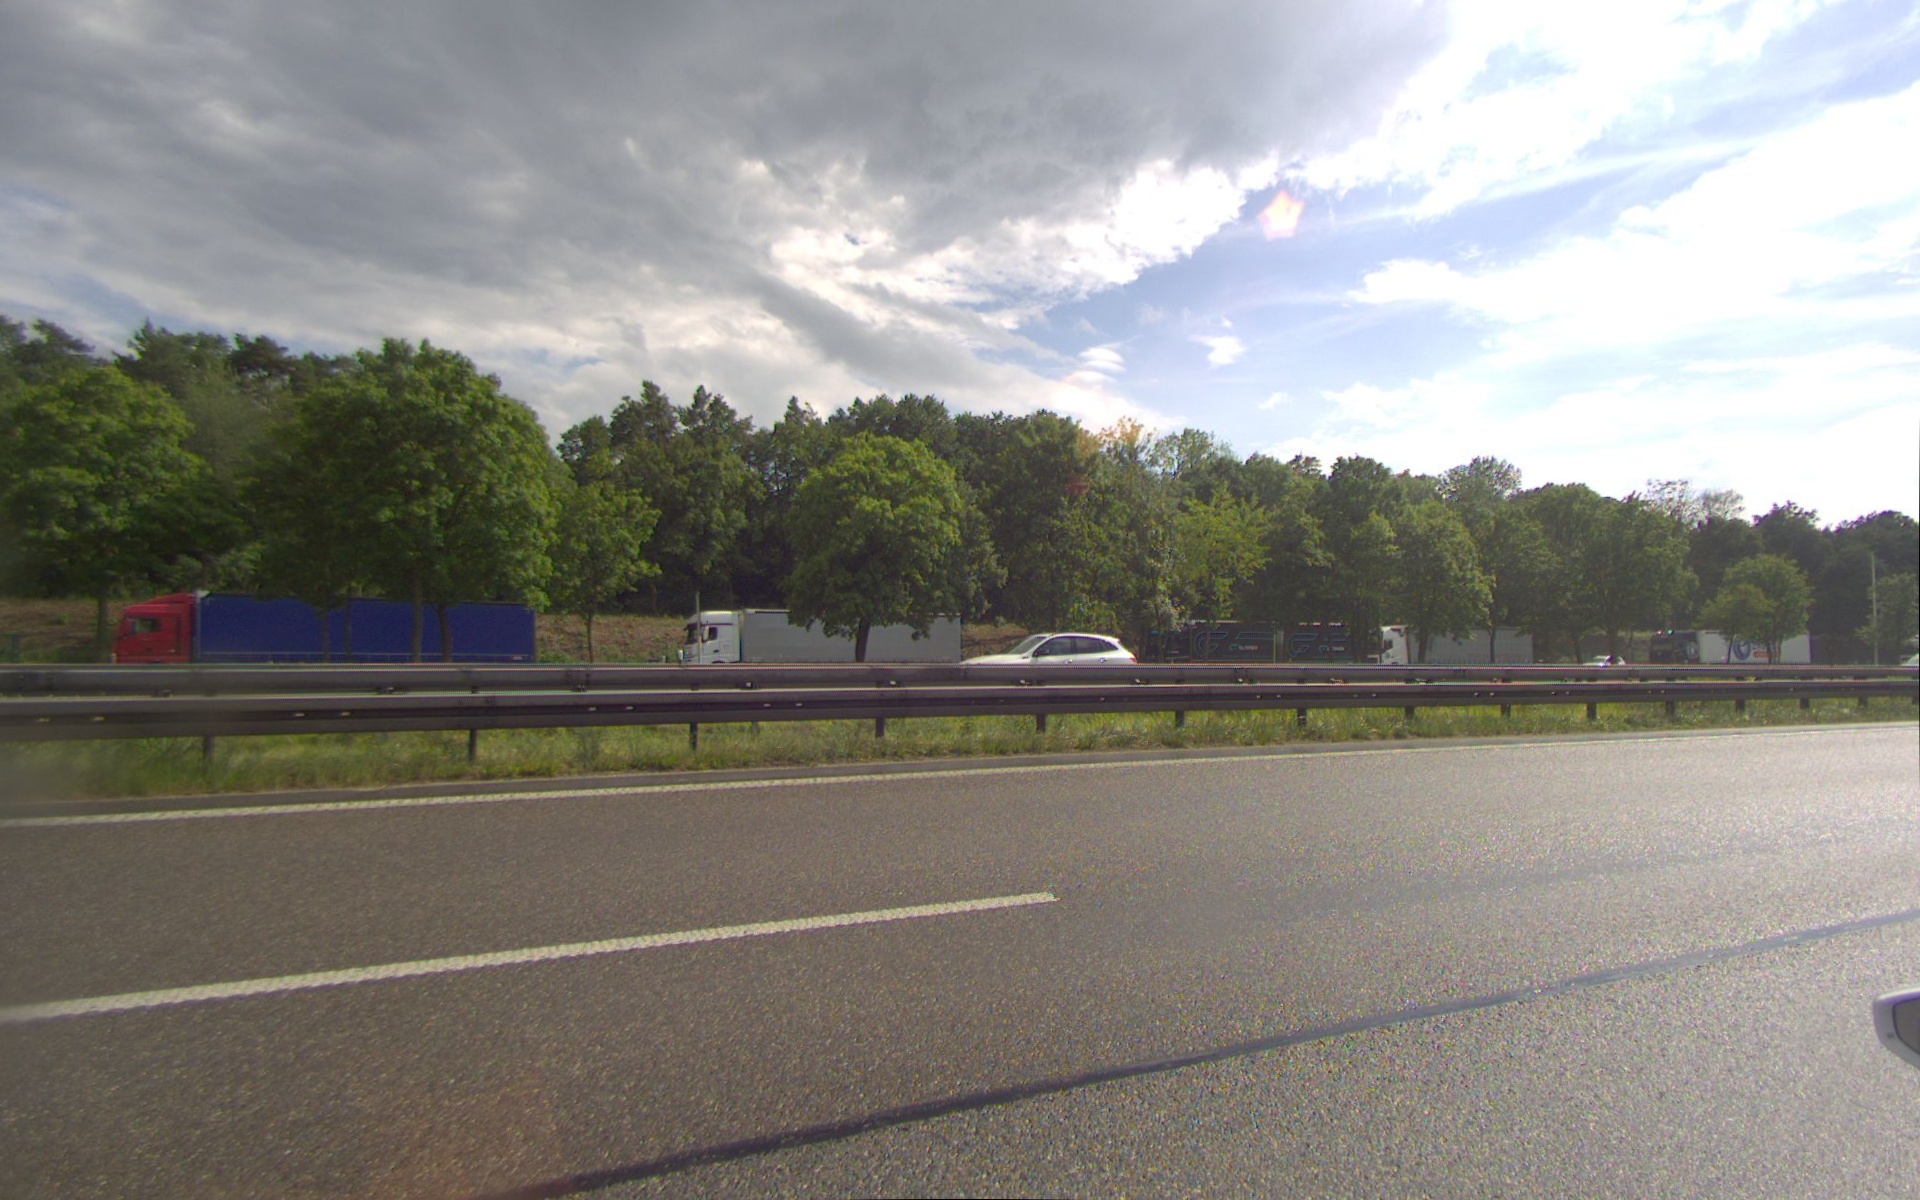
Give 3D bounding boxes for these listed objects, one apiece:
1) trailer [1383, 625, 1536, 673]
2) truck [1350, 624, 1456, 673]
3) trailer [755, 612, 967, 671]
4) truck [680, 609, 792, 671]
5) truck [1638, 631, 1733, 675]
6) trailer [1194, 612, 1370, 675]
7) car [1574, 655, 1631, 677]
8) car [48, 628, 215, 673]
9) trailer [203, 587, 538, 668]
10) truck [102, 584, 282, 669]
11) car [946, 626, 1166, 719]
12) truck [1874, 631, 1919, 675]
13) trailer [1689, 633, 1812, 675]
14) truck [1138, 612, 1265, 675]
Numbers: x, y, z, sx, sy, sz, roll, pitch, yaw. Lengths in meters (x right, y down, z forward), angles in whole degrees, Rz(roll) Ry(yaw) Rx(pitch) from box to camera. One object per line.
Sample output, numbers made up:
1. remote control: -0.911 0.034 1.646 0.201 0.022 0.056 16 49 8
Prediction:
1. trailer: 41.109 4.043 82.536 13.157 3.697 3.780 2 -2 -24
2. truck: 35.240 3.831 79.969 7.252 3.637 3.778 2 -1 -24
3. trailer: -5.811 2.533 60.420 12.312 3.258 3.336 2 -2 -27
4. truck: -12.713 2.247 56.887 5.439 3.316 3.339 2 -1 -28
5. truck: 65.509 4.779 90.752 6.601 3.708 3.784 2 -1 -19
6. trailer: 24.421 3.328 75.841 13.607 4.463 3.780 2 -2 -24
7. car: 56.075 5.769 87.665 4.304 1.741 2.055 2 -1 -22
8. car: -40.688 2.504 49.561 6.068 2.040 1.982 2 -1 -33
9. trailer: -27.389 1.408 47.657 13.276 3.449 2.808 2 -2 -32
10. truck: -33.370 1.199 43.968 5.832 3.502 2.845 2 -1 -32
11. car: 2.209 1.620 22.946 4.714 1.916 1.825 2 -1 -25
12. truck: 94.513 5.240 98.533 6.920 4.171 3.793 2 -1 -11
13. trailer: 73.471 5.027 93.345 10.328 3.697 3.788 1 -2 -17
14. truck: 17.504 3.126 72.726 8.300 4.290 3.778 2 -1 -24
